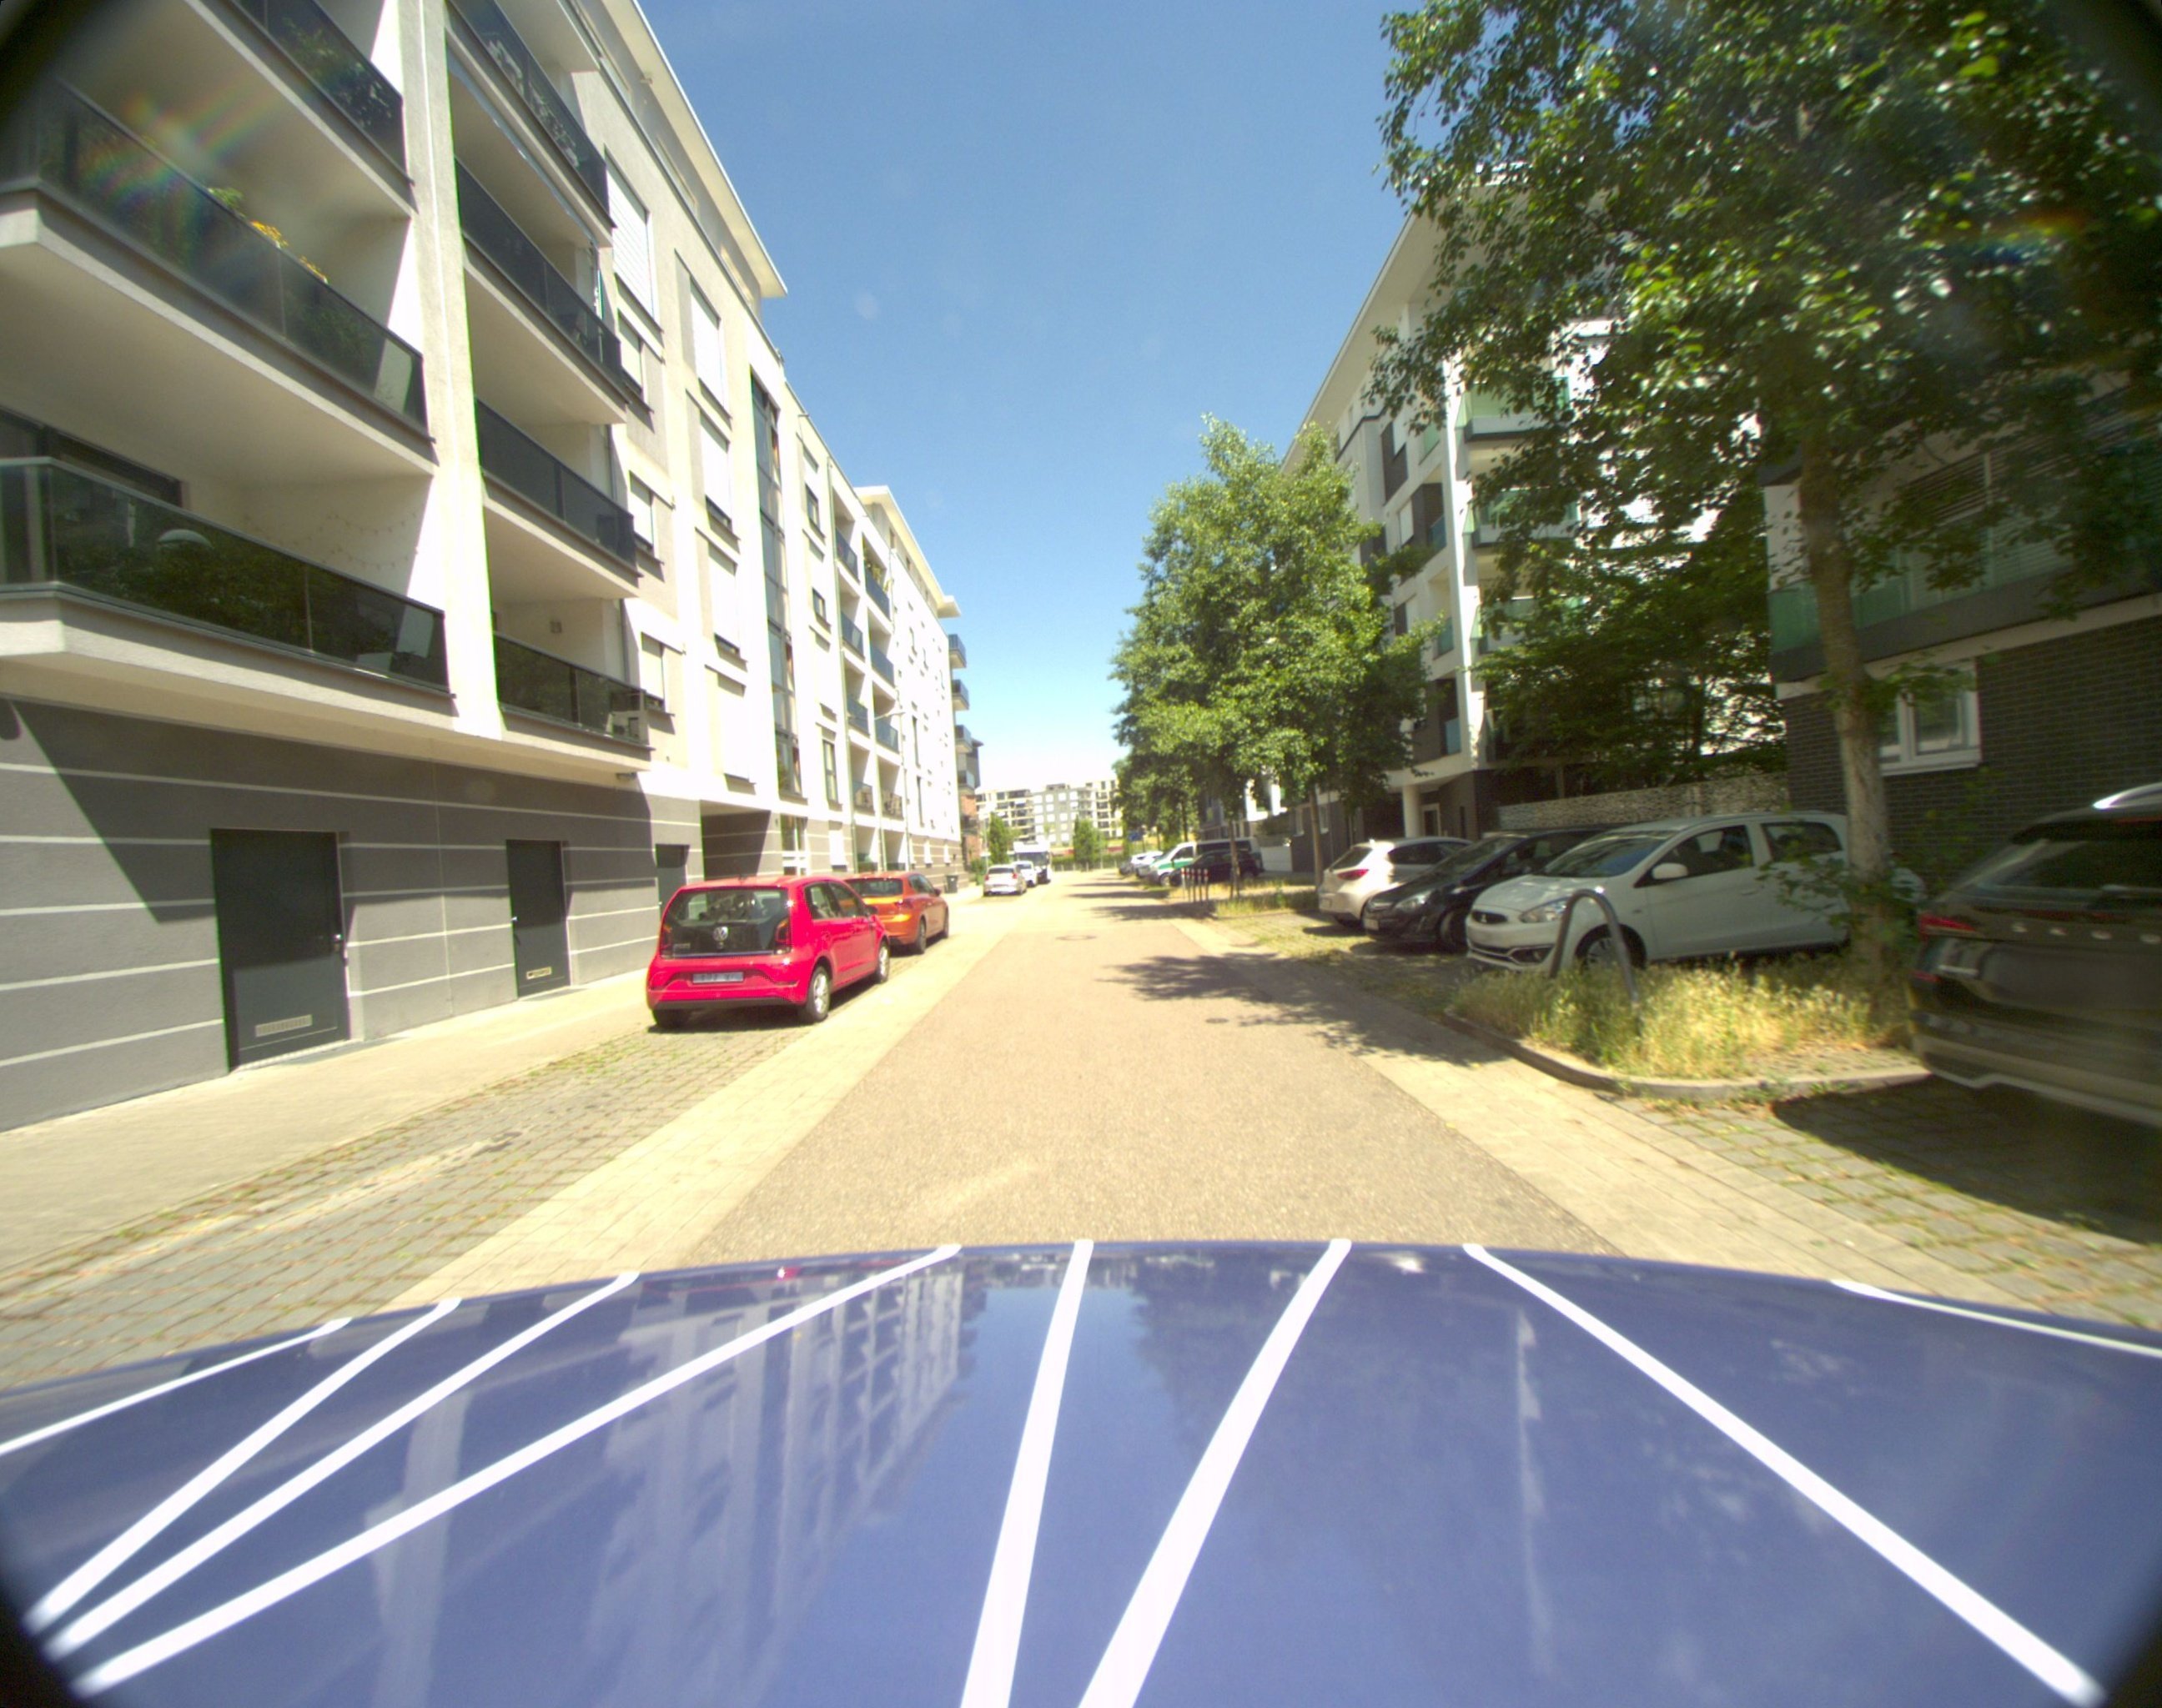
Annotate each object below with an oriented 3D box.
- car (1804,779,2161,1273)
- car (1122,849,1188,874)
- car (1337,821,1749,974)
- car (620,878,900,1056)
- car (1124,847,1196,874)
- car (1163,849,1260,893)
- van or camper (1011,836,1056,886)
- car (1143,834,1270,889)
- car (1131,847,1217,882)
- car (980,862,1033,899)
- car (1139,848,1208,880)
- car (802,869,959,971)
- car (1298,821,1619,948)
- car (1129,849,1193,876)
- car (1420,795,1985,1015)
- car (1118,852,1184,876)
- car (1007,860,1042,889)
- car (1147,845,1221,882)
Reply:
[{"bbox_3d":[5.544,0.420,2.700,3.997,1.620,1.933,-5,0,0],"label":"car"},{"bbox_3d":[5.785,0.565,59.689,4.831,1.441,1.827,-6,1,-2],"label":"car"},{"bbox_3d":[5.939,0.536,10.170,4.327,1.467,1.793,-5,0,0],"label":"car"},{"bbox_3d":[-3.372,1.087,8.782,1.599,1.477,3.675,-2,0,0],"label":"car"},{"bbox_3d":[5.886,0.516,57.274,5.042,1.622,2.042,-4,0,-2],"label":"car"},{"bbox_3d":[5.409,0.692,31.730,3.632,1.473,1.678,-5,0,-1],"label":"car"},{"bbox_3d":[-3.062,0.430,50.783,2.445,2.889,7.825,-5,1,-1],"label":"van or camper"},{"bbox_3d":[5.608,0.333,34.518,5.355,2.098,2.187,-3,0,2],"label":"car"},{"bbox_3d":[5.429,0.587,44.698,4.571,1.584,1.966,-6,0,-5],"label":"car"},{"bbox_3d":[-3.416,1.189,35.489,1.850,1.408,4.426,-4,0,1],"label":"car"},{"bbox_3d":[5.723,0.618,47.329,3.990,1.619,1.950,-5,0,2],"label":"car"},{"bbox_3d":[-3.558,1.106,14.318,1.742,1.478,4.258,-2,0,0],"label":"car"},{"bbox_3d":[6.069,0.467,12.615,4.263,1.509,1.924,-6,0,0],"label":"car"},{"bbox_3d":[5.701,0.594,54.555,4.263,1.521,1.822,-5,0,-3],"label":"car"},{"bbox_3d":[5.866,0.457,7.609,3.997,1.582,1.884,-5,0,1],"label":"car"},{"bbox_3d":[5.675,0.802,62.336,5.112,1.476,1.927,-4,1,-2],"label":"car"},{"bbox_3d":[-3.282,1.146,44.502,1.812,1.496,4.260,-2,0,-2],"label":"car"},{"bbox_3d":[5.664,0.532,42.058,3.689,1.666,1.852,-5,0,0],"label":"car"}]
